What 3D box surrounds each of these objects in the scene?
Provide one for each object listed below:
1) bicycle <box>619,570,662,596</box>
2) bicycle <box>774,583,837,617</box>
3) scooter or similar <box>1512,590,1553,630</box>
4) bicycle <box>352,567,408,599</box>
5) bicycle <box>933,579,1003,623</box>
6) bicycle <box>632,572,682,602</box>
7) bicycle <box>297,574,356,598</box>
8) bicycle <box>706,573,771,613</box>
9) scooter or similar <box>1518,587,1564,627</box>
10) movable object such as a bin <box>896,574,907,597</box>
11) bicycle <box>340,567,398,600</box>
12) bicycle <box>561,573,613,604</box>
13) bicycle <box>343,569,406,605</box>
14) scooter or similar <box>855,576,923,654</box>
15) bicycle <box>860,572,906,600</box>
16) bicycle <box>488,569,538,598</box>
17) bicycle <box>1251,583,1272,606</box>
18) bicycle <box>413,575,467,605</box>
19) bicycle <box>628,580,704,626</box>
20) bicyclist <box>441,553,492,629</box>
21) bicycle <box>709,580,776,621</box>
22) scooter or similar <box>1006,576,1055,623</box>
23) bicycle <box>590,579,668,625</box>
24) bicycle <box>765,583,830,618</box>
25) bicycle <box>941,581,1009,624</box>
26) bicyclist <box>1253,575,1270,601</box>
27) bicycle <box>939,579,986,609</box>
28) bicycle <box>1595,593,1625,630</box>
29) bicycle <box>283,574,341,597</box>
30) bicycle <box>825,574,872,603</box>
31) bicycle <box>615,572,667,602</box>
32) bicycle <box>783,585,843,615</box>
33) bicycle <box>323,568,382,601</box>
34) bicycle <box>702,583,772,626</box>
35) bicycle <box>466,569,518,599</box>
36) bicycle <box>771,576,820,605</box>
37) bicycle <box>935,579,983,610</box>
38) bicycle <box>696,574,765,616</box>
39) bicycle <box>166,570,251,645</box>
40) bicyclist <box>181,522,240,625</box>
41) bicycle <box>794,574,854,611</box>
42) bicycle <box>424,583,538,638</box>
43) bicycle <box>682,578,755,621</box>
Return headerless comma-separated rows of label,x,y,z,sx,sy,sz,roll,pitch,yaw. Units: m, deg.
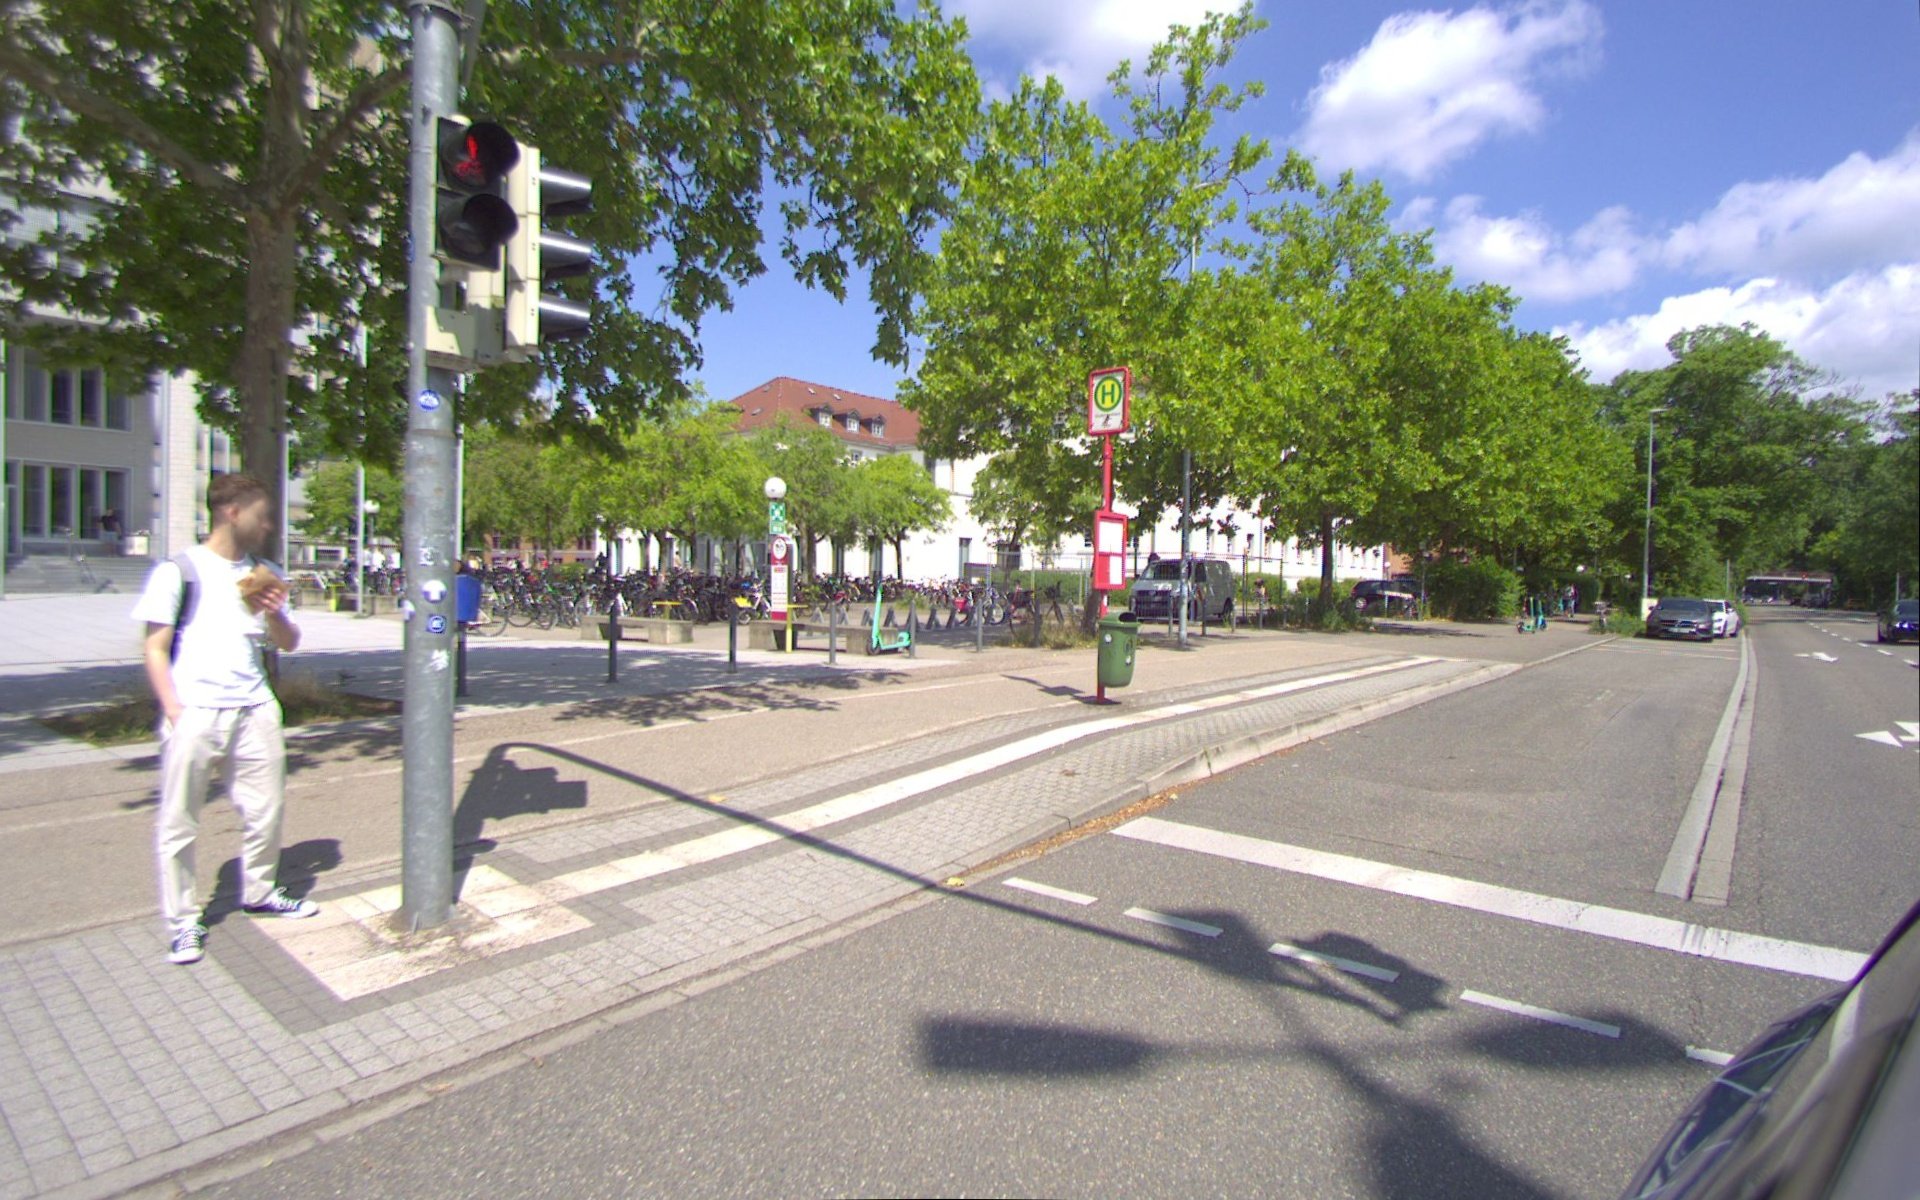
bicycle,-14.234,-0.767,45.165,1.738,1.113,0.602,-1,0,8
bicycle,-4.567,-0.006,29.940,1.738,0.966,0.602,1,0,8
scooter or similar,17.960,0.313,31.723,1.546,1.183,0.530,1,2,-38
bicycle,-20.718,-0.599,36.167,1.738,1.113,0.602,-1,0,8
bicycle,0.219,0.033,26.266,1.738,1.113,0.602,-1,0,8
bicycle,-11.529,-0.490,38.513,1.738,1.113,0.602,-1,0,8
bicycle,-22.267,-0.496,35.599,0.515,0.802,1.752,1,2,25
bicycle,-6.516,-0.209,29.809,1.738,1.113,0.602,1,0,8
scooter or similar,19.343,0.239,33.693,1.262,1.262,0.531,2,1,-17
movable object such as a bin,-2.845,-0.704,49.070,0.386,1.068,0.364,3,2,34
bicycle,-20.690,-0.562,35.423,1.738,1.113,0.602,-1,0,8
bicycle,-13.697,-0.433,37.168,1.738,1.113,0.602,-1,0,8
bicycle,-18.710,-0.405,32.344,1.738,1.113,0.602,-1,0,8
scooter or similar,-1.094,0.215,15.808,0.352,1.180,1.176,-1,0,38
bicycle,-3.081,-0.558,40.648,1.738,1.113,0.602,-1,0,8
bicycle,-17.517,-0.637,39.681,1.738,1.113,0.602,-1,0,8
bicycle,15.583,-0.285,52.281,0.604,1.152,1.569,3,2,33
bicycle,-19.313,-0.367,37.589,1.738,1.113,0.602,-1,0,8
bicycle,-7.374,0.081,25.434,1.738,1.113,0.602,-1,0,8
bicyclist,-10.529,-0.201,21.629,0.913,1.583,0.664,0,1,-20
bicycle,-6.162,0.010,28.660,1.738,1.112,0.602,2,0,8
scooter or similar,1.894,-0.027,27.281,1.285,1.248,0.278,0,2,25
bicycle,-8.115,0.052,24.862,1.738,1.113,0.602,-1,0,8
bicycle,-4.673,0.002,29.142,1.738,0.966,0.602,1,0,8
bicycle,0.407,0.058,26.942,1.738,1.113,0.602,-1,0,8
bicyclist,15.585,-0.627,52.269,0.604,1.336,0.733,3,2,34
bicycle,0.098,-0.218,38.490,1.738,1.113,0.591,-1,0,8
bicycle,22.097,0.377,34.404,0.636,1.205,2.090,3,2,38
bicycle,-23.194,-0.528,36.237,0.515,0.802,1.752,1,2,25
bicycle,-4.359,-0.437,39.680,1.738,1.113,0.602,-1,0,8
bicycle,-11.877,-0.478,37.691,1.738,1.113,0.602,-1,0,8
bicycle,-4.460,-0.009,30.739,1.738,0.879,0.483,1,0,8
bicycle,-20.841,-0.537,34.717,1.738,1.113,0.602,-1,0,8
bicycle,-5.991,0.120,27.230,1.738,1.113,0.602,1,0,8
bicycle,-17.784,-0.606,38.451,1.738,1.113,0.602,-1,0,8
bicycle,-6.348,-0.362,39.052,1.738,1.113,0.602,-1,0,8
bicycle,-0.023,-0.211,37.885,1.738,1.113,0.515,-1,0,8
bicycle,-6.330,-0.157,27.936,1.738,1.112,0.602,1,1,8
bicycle,-13.807,0.124,18.648,0.648,1.313,1.878,-1,0,-17
bicyclist,-13.833,-0.487,18.698,0.648,1.868,0.763,-1,0,-17
bicycle,-4.196,-0.233,31.339,1.738,1.113,0.602,-1,0,8
bicycle,-10.268,0.199,21.790,2.109,1.092,0.906,-2,1,-18
bicycle,-6.303,-0.012,26.445,1.738,1.113,0.602,-1,0,8
